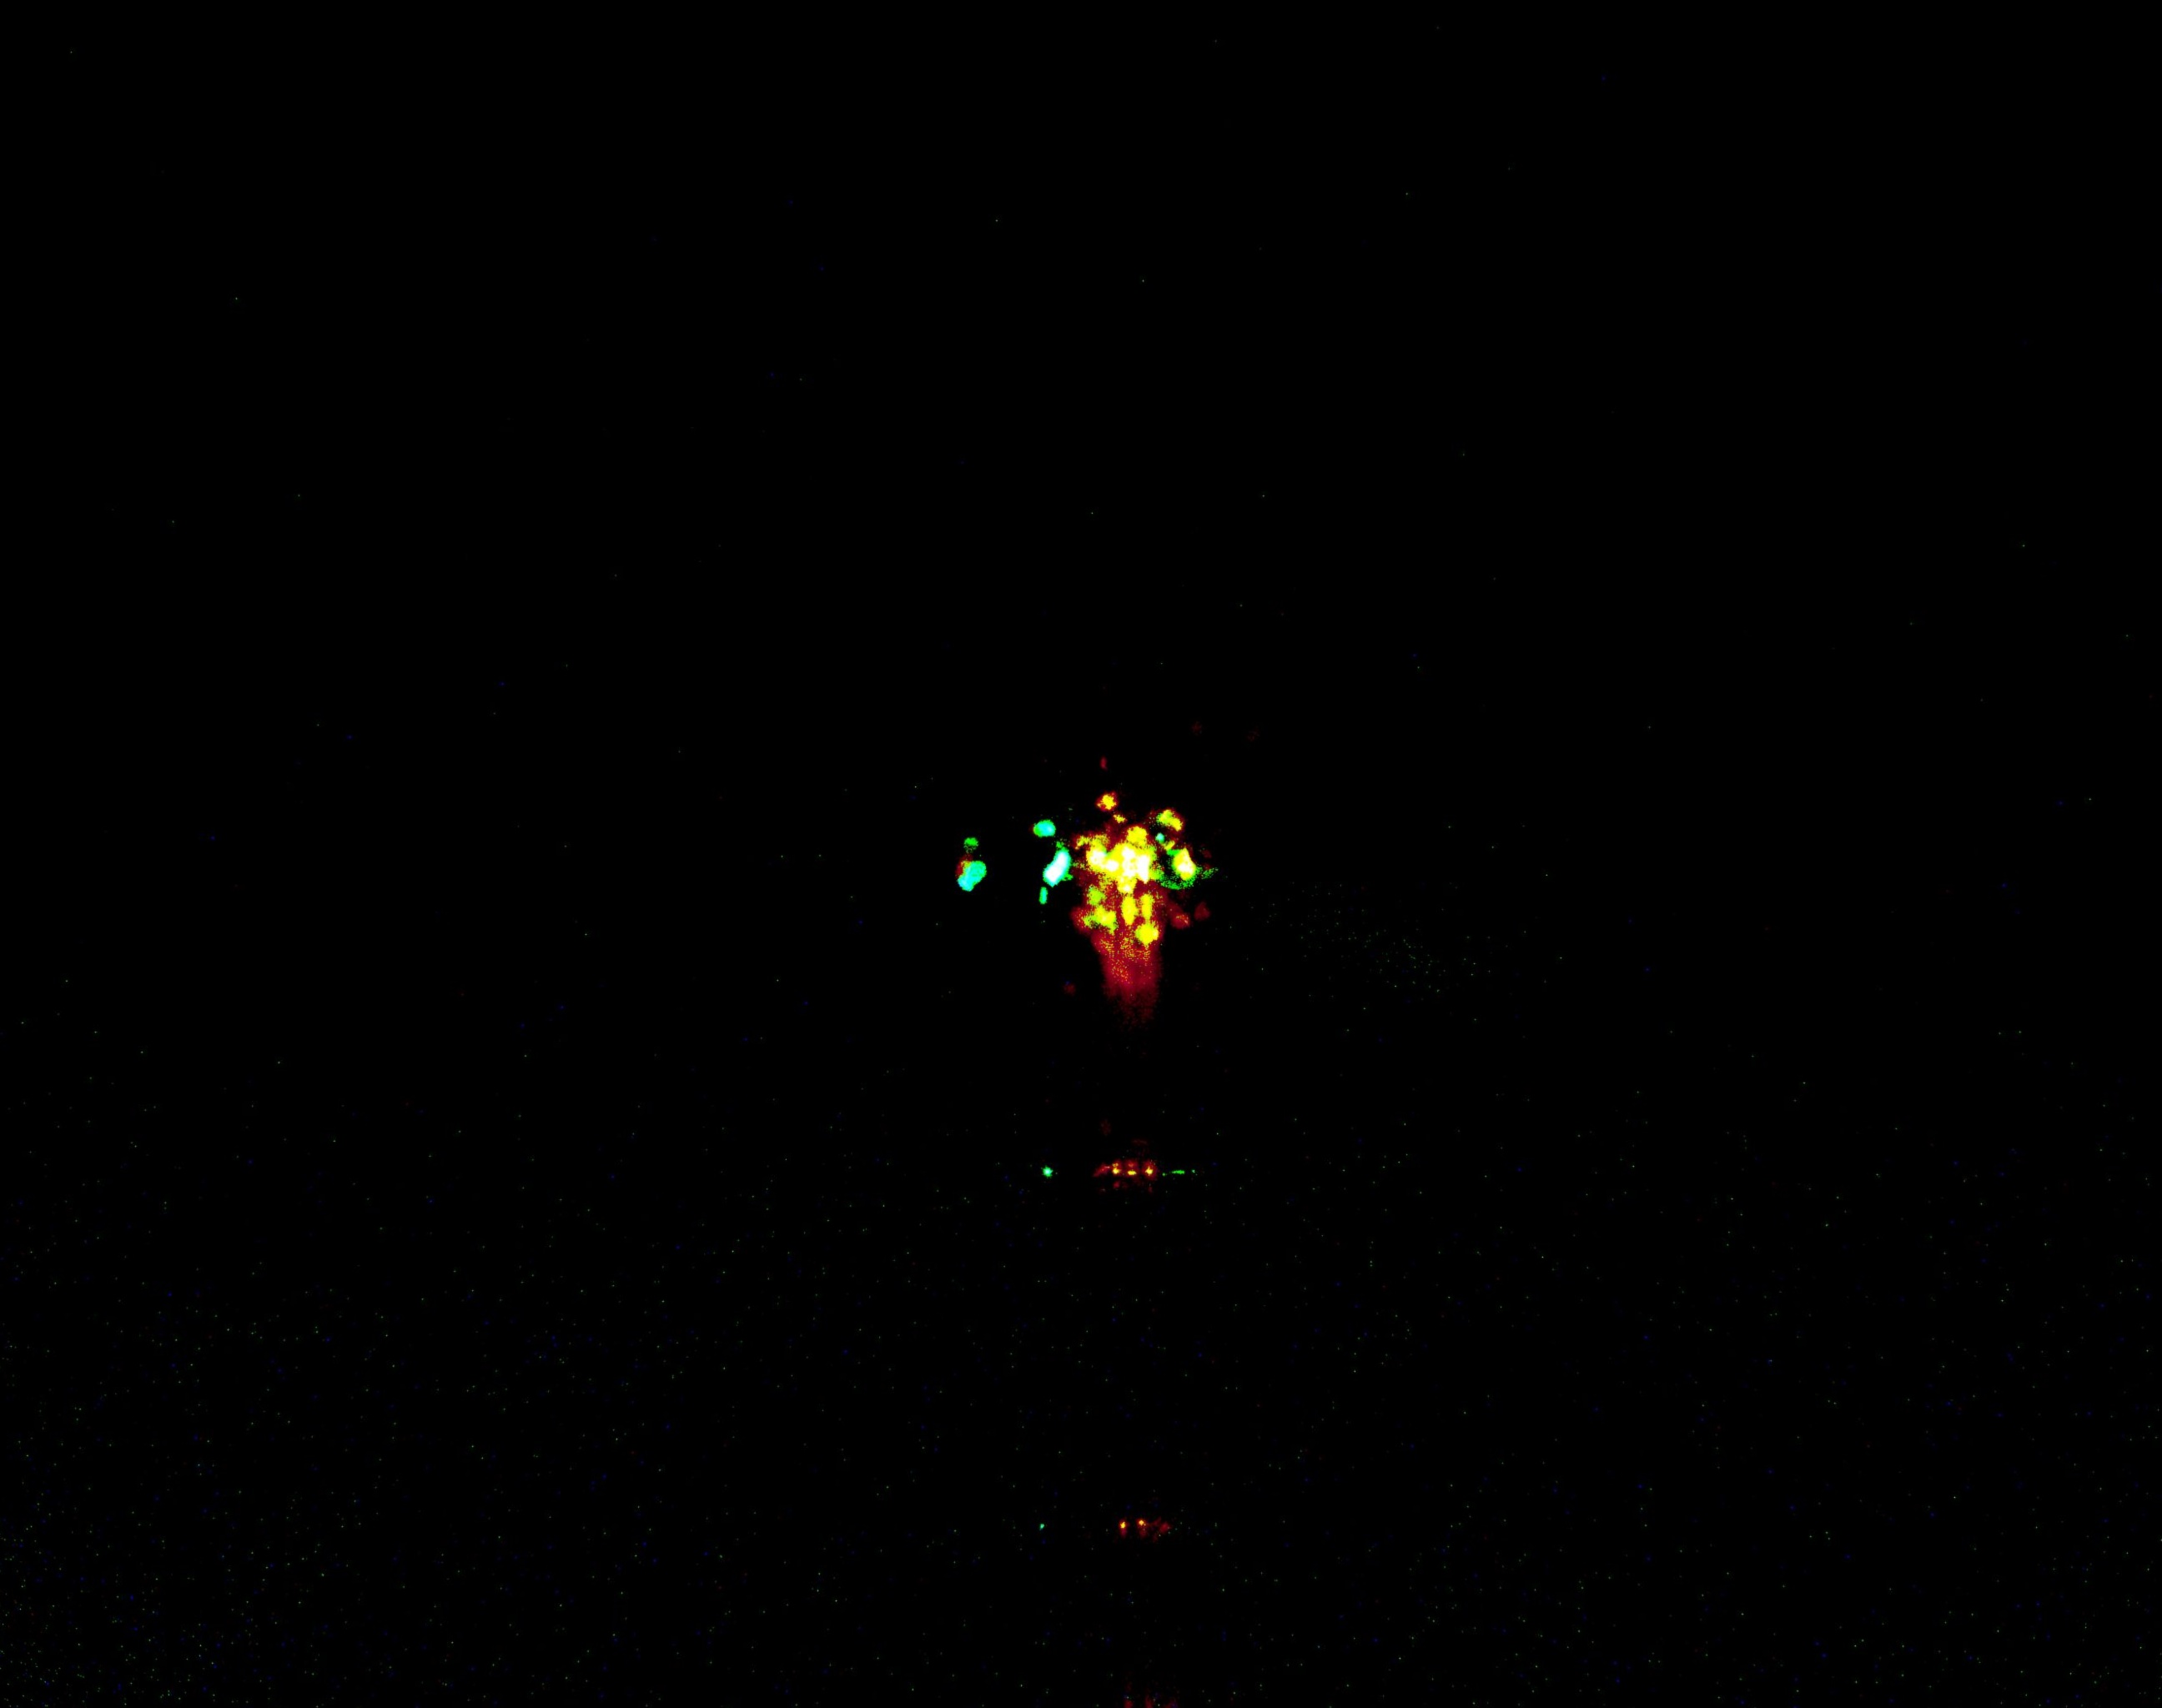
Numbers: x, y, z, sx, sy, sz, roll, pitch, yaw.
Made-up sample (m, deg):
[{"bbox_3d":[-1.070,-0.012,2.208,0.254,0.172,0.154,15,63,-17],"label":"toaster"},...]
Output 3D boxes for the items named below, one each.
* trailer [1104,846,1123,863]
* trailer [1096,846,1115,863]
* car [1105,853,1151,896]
[{"bbox_3d":[4.524,0.087,114.751,1.607,2.352,4.411,0,-1,-13],"label":"trailer"},{"bbox_3d":[3.556,0.115,119.569,1.631,2.365,4.633,0,-1,-12],"label":"trailer"},{"bbox_3d":[2.018,0.822,34.422,1.793,1.628,3.619,-2,0,4],"label":"car"}]
